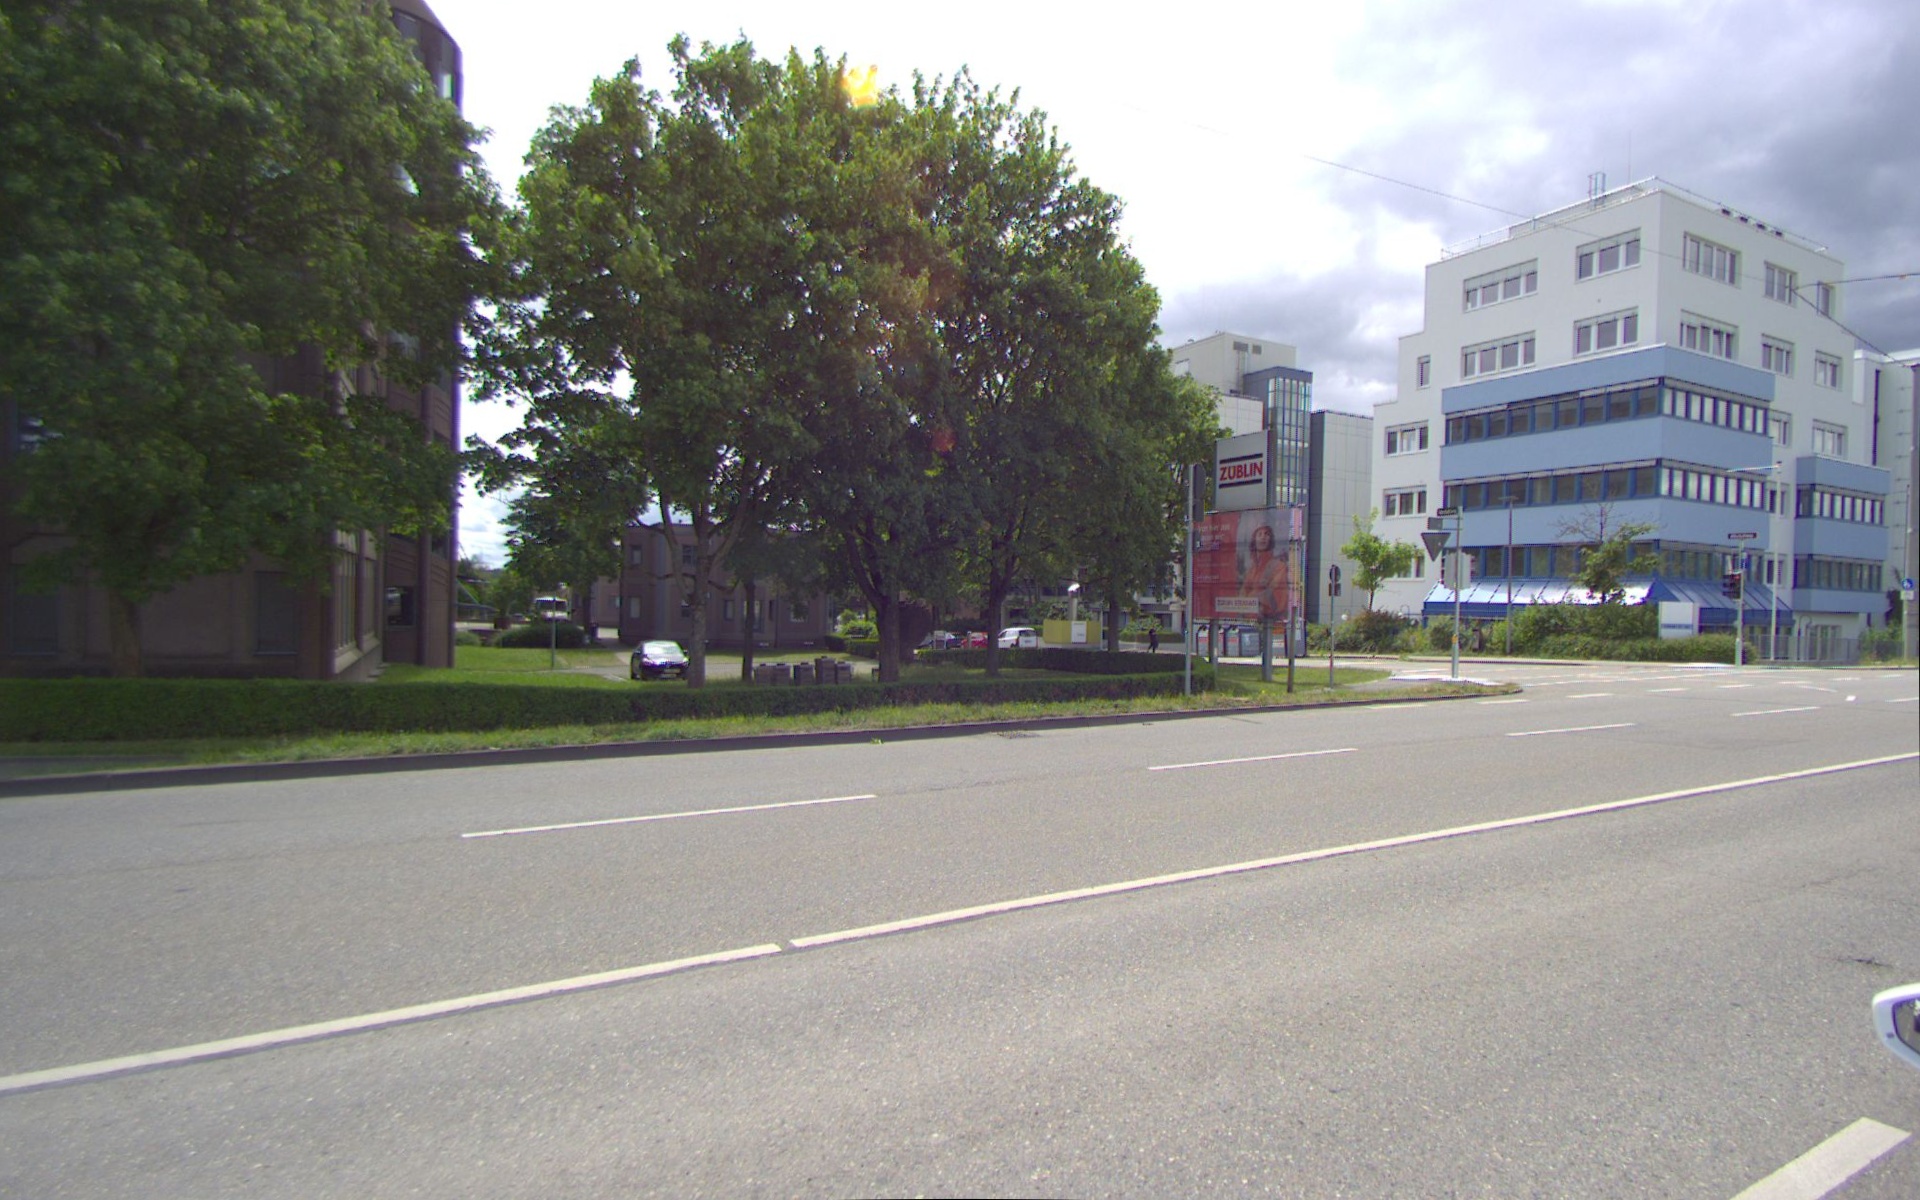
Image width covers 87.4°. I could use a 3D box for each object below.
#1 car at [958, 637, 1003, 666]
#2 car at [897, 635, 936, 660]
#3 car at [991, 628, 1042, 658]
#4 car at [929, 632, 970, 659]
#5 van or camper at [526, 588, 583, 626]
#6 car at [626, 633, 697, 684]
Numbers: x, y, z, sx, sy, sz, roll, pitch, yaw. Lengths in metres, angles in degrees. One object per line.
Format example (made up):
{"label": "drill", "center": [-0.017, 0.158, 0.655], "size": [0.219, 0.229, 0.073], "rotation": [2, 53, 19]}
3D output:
{"label": "car", "center": [1.546, 3.991, 77.887], "size": [1.868, 2.040, 3.974], "rotation": [2, -1, -26]}
{"label": "car", "center": [-3.855, 4.111, 87.781], "size": [1.786, 2.040, 3.968], "rotation": [2, -1, -30]}
{"label": "car", "center": [4.045, 3.112, 72.678], "size": [1.974, 2.006, 3.973], "rotation": [2, -1, -26]}
{"label": "car", "center": [-0.902, 3.711, 82.708], "size": [1.848, 2.040, 3.972], "rotation": [2, -1, -27]}
{"label": "van or camper", "center": [-24.266, 0.392, 59.961], "size": [2.332, 2.132, 5.161], "rotation": [2, 0, -31]}
{"label": "car", "center": [-10.959, 2.107, 36.714], "size": [1.764, 1.750, 3.972], "rotation": [1, -3, -28]}
